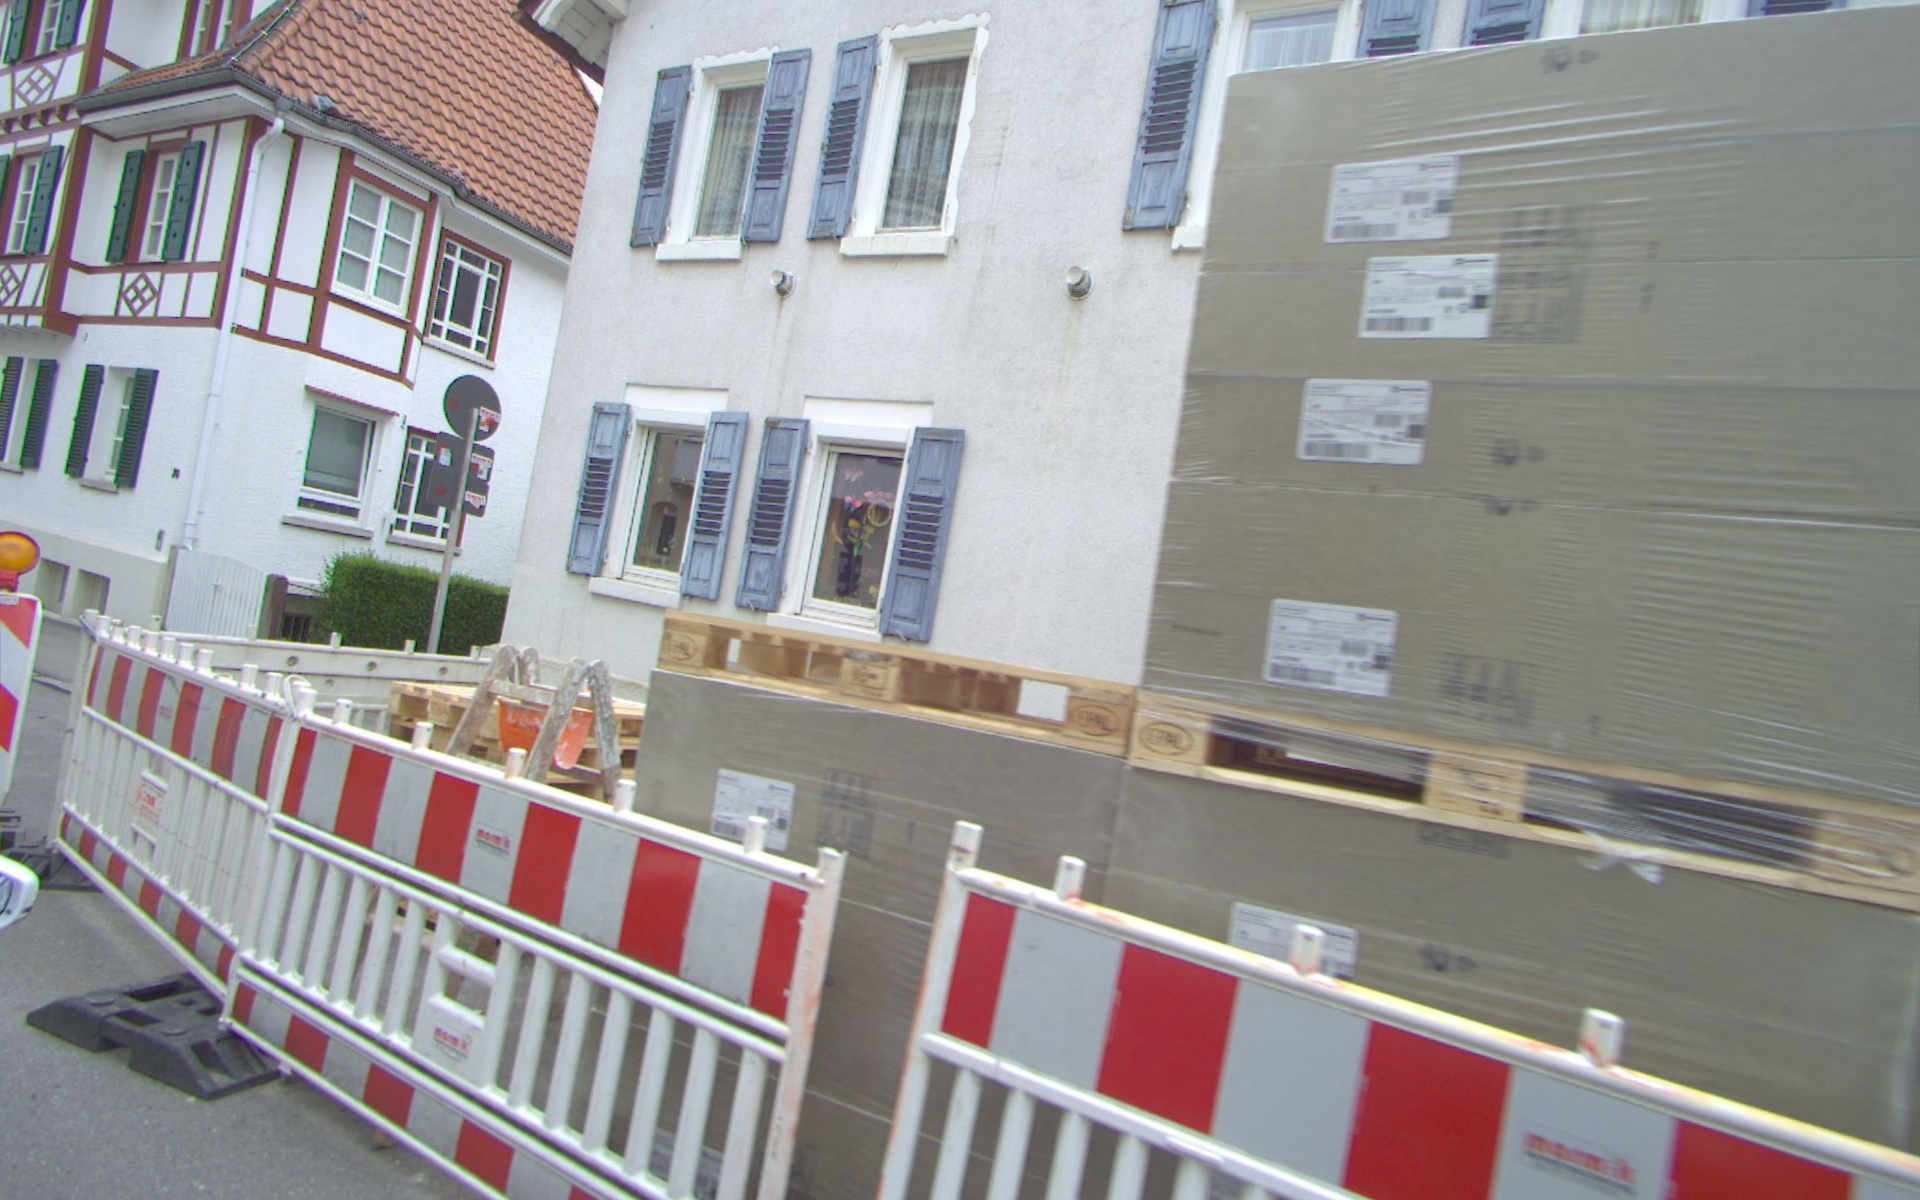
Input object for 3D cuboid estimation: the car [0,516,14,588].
[{"bbox_3d":[-12.073,-0.487,10.432,4.373,1.457,1.826,7,-4,28],"label":"car"}]
